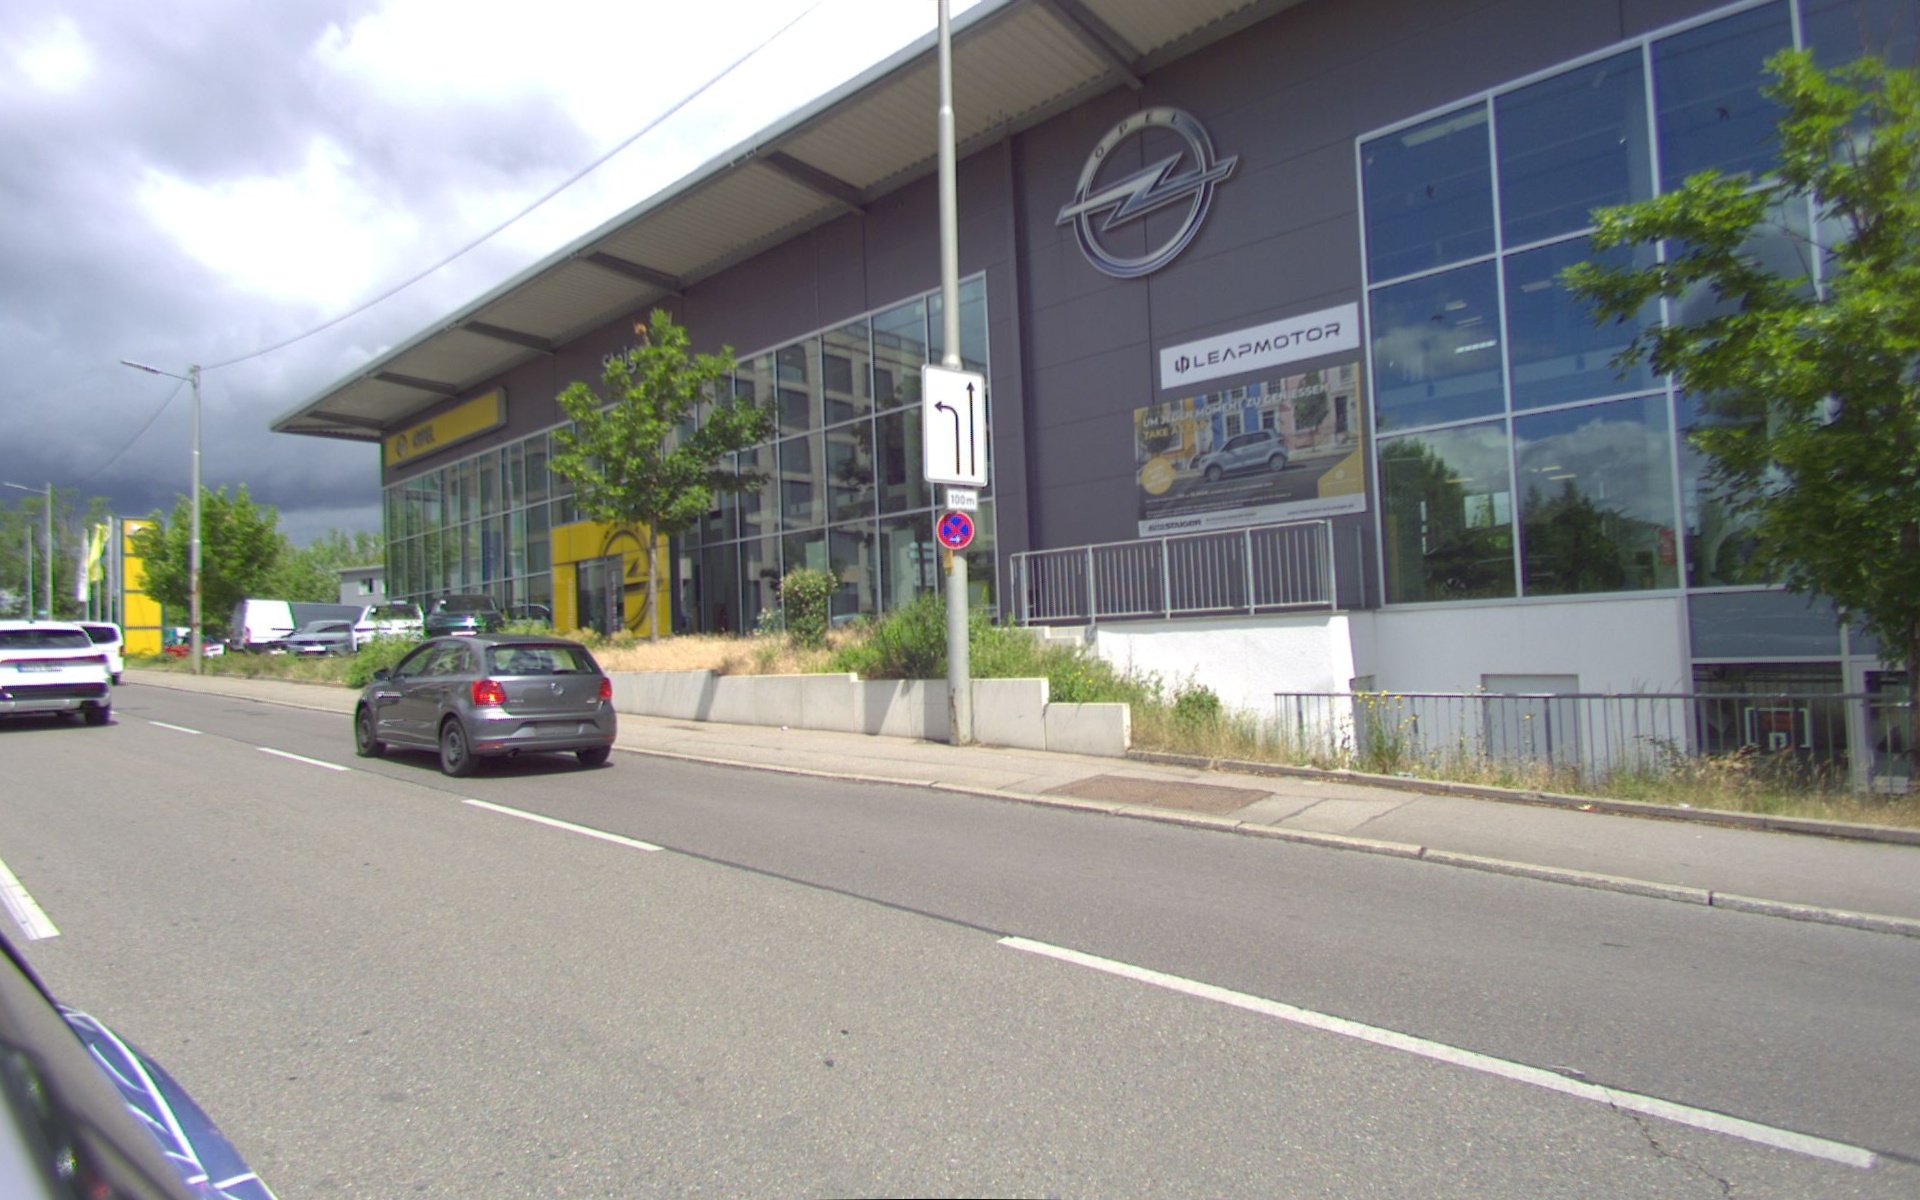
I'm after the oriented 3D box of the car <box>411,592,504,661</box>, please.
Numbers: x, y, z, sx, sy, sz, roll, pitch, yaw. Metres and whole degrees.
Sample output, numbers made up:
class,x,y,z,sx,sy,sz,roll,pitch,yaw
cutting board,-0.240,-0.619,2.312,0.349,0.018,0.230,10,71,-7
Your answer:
class,x,y,z,sx,sy,sz,roll,pitch,yaw
car,-12.979,0.703,26.373,1.790,1.625,4.122,0,-2,-21

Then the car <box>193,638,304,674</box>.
class,x,y,z,sx,sy,sz,roll,pitch,yaw
car,-32.798,2.543,46.744,1.559,1.539,3.897,-2,-2,38

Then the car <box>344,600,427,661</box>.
class,x,y,z,sx,sy,sz,roll,pitch,yaw
car,-16.551,0.857,29.316,1.767,1.625,4.122,0,-1,-25

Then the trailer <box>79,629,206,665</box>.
class,x,y,z,sx,sy,sz,roll,pitch,yaw
trailer,-42.534,2.430,52.745,2.092,1.765,4.776,-2,-2,37

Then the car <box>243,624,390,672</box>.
class,x,y,z,sx,sy,sz,roll,pitch,yaw
car,-22.939,1.690,36.208,1.792,1.625,4.064,-2,-2,32

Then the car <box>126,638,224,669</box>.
class,x,y,z,sx,sy,sz,roll,pitch,yaw
car,-39.229,2.644,50.625,1.814,1.420,3.621,-2,-3,42

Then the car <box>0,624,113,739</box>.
class,x,y,z,sx,sy,sz,roll,pitch,yaw
car,-15.104,1.226,16.048,4.413,1.625,1.899,-2,-2,41

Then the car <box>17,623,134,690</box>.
class,x,y,z,sx,sy,sz,roll,pitch,yaw
car,-26.906,1.699,30.723,5.196,1.874,1.899,-2,-4,41

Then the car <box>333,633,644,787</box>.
class,x,y,z,sx,sy,sz,roll,pitch,yaw
car,-5.324,1.110,11.255,3.732,1.424,1.740,-2,-4,41

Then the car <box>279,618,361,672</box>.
class,x,y,z,sx,sy,sz,roll,pitch,yaw
car,-20.682,1.437,32.837,1.767,1.625,4.122,0,-2,-26

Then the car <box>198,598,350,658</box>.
class,x,y,z,sx,sy,sz,roll,pitch,yaw
car,-26.517,1.065,39.238,2.177,2.211,4.475,-1,-2,39
